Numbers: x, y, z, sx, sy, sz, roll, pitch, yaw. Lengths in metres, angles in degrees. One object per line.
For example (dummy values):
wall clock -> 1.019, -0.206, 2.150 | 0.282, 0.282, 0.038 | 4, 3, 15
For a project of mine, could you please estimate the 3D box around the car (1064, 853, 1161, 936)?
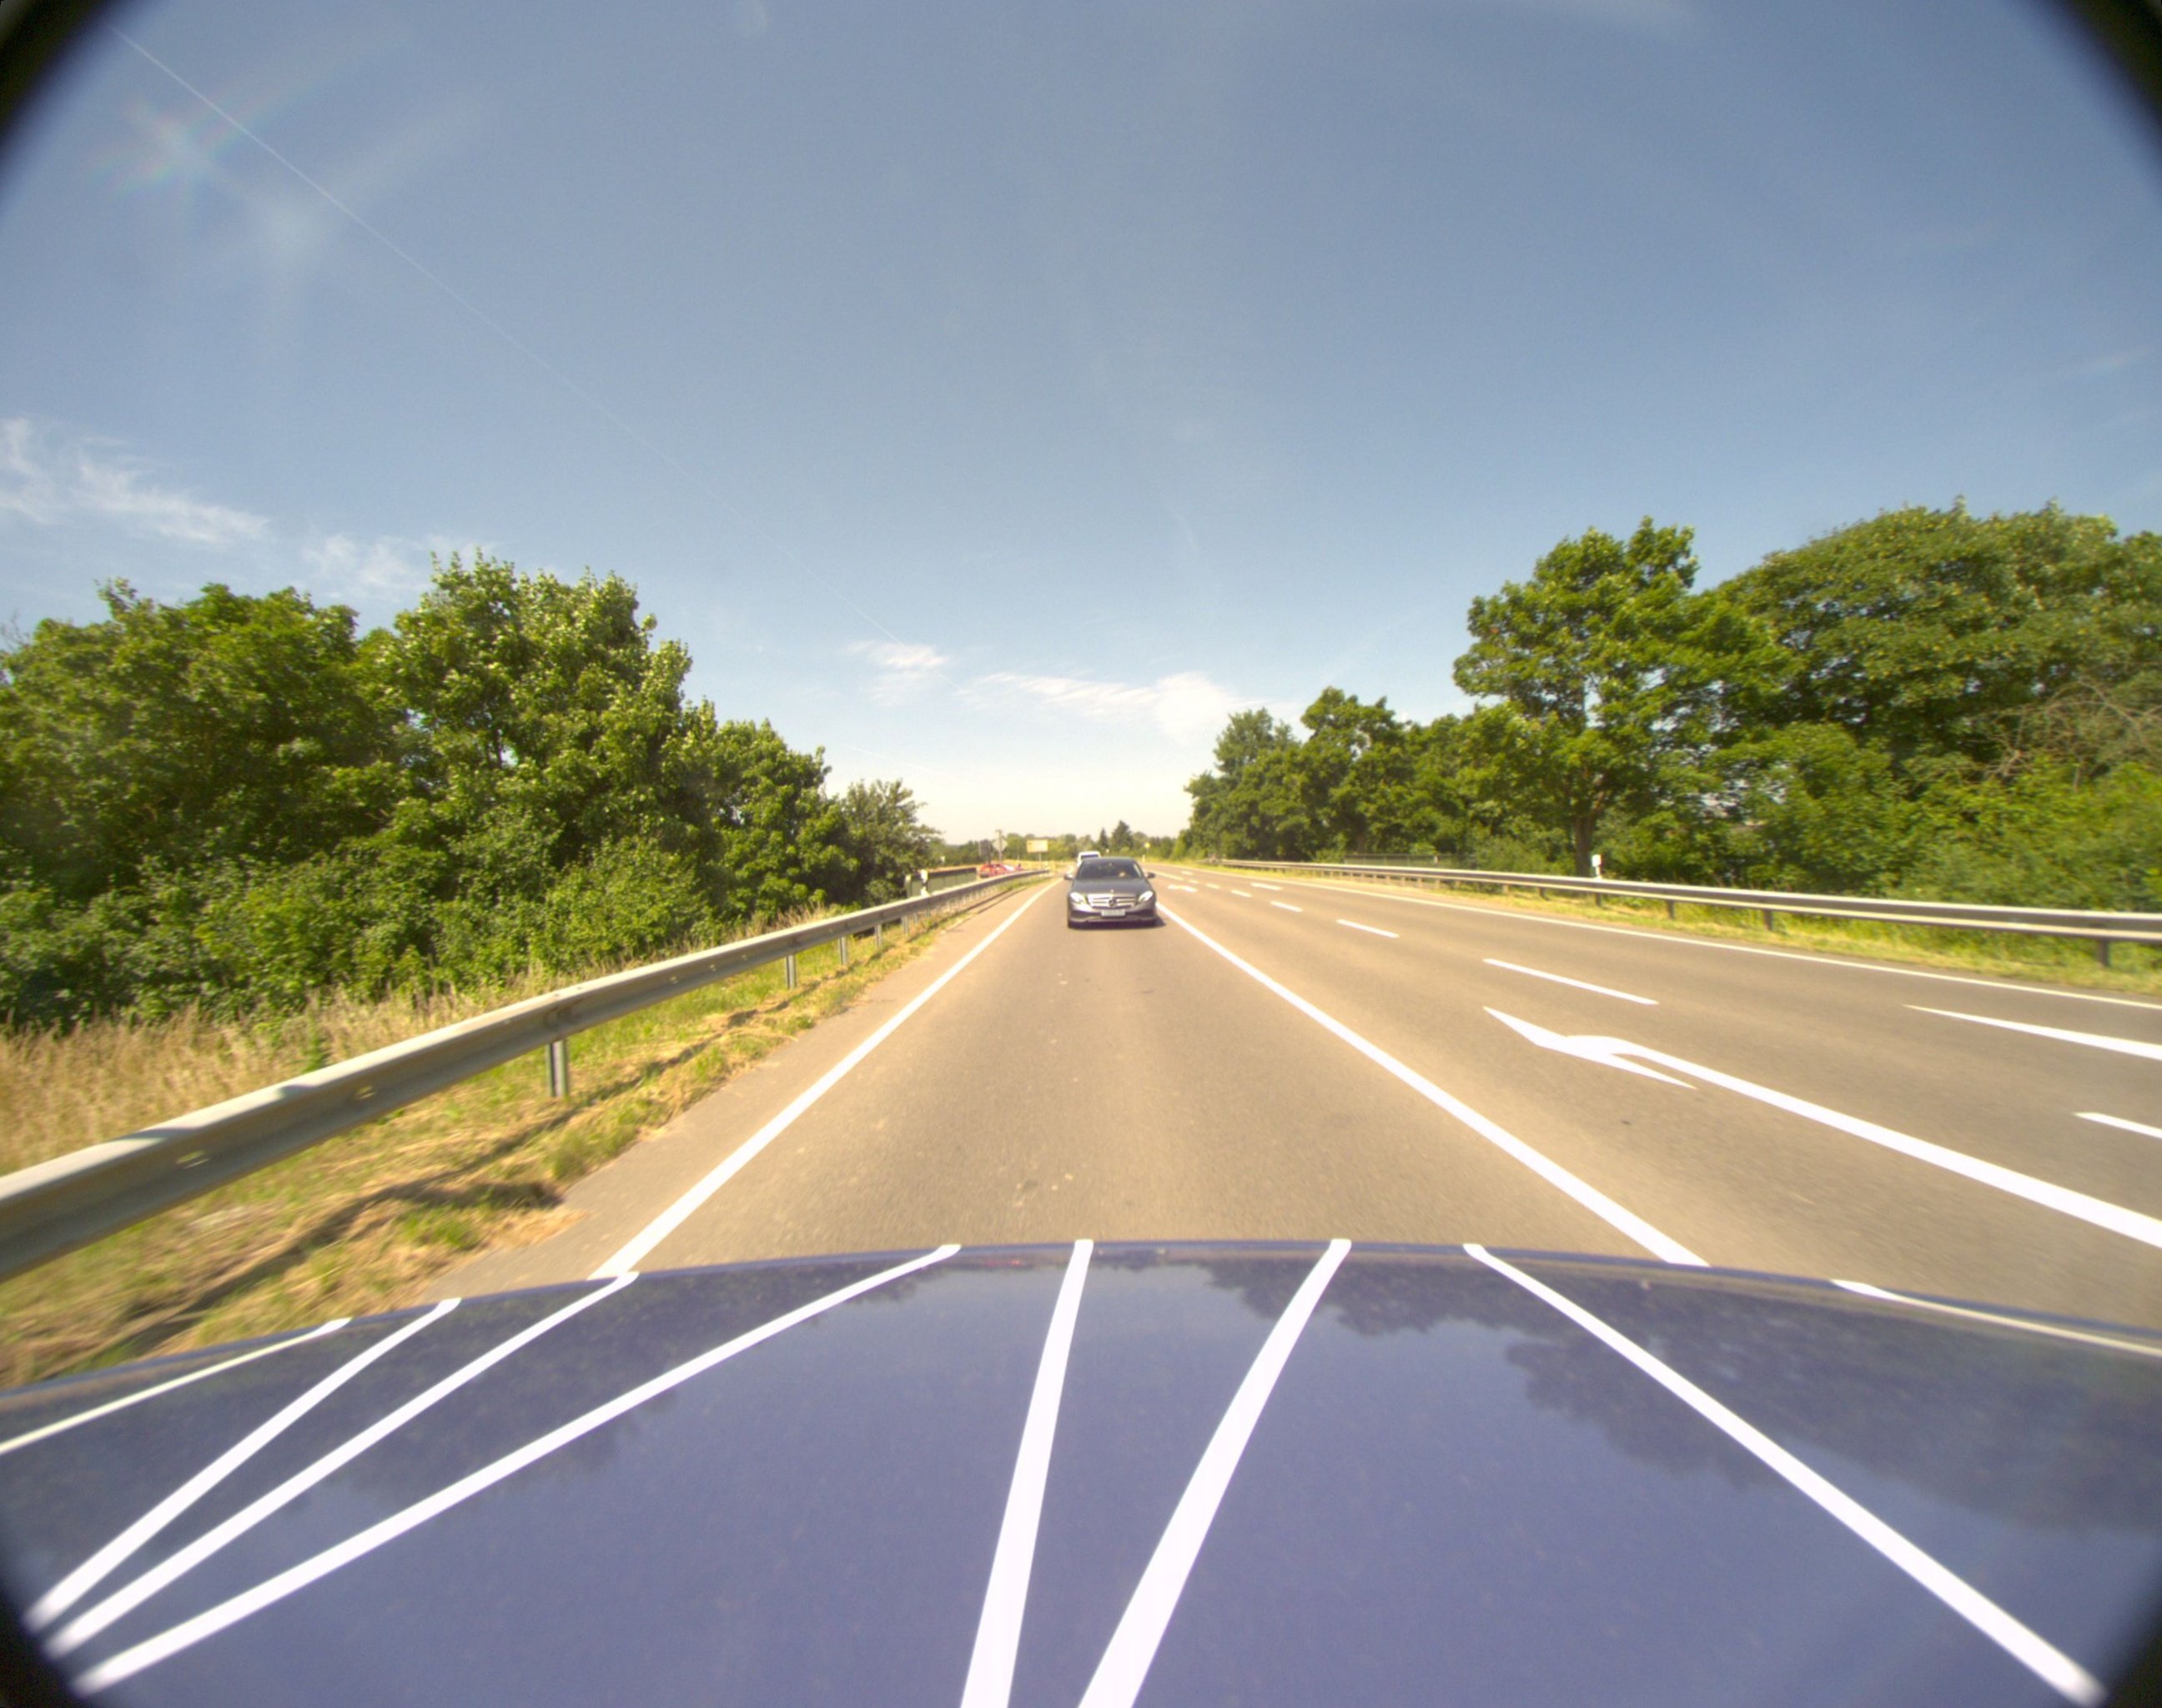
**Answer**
car -> 0.744, 0.805, 17.277 | 1.831, 1.540, 4.499 | -3, 0, 3

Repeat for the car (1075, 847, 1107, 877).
car -> 0.780, 0.556, 58.836 | 2.179, 2.002, 5.025 | -6, 0, 1

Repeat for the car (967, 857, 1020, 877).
car -> -7.597, 1.114, 66.019 | 4.159, 1.410, 1.781 | -3, 1, 14
